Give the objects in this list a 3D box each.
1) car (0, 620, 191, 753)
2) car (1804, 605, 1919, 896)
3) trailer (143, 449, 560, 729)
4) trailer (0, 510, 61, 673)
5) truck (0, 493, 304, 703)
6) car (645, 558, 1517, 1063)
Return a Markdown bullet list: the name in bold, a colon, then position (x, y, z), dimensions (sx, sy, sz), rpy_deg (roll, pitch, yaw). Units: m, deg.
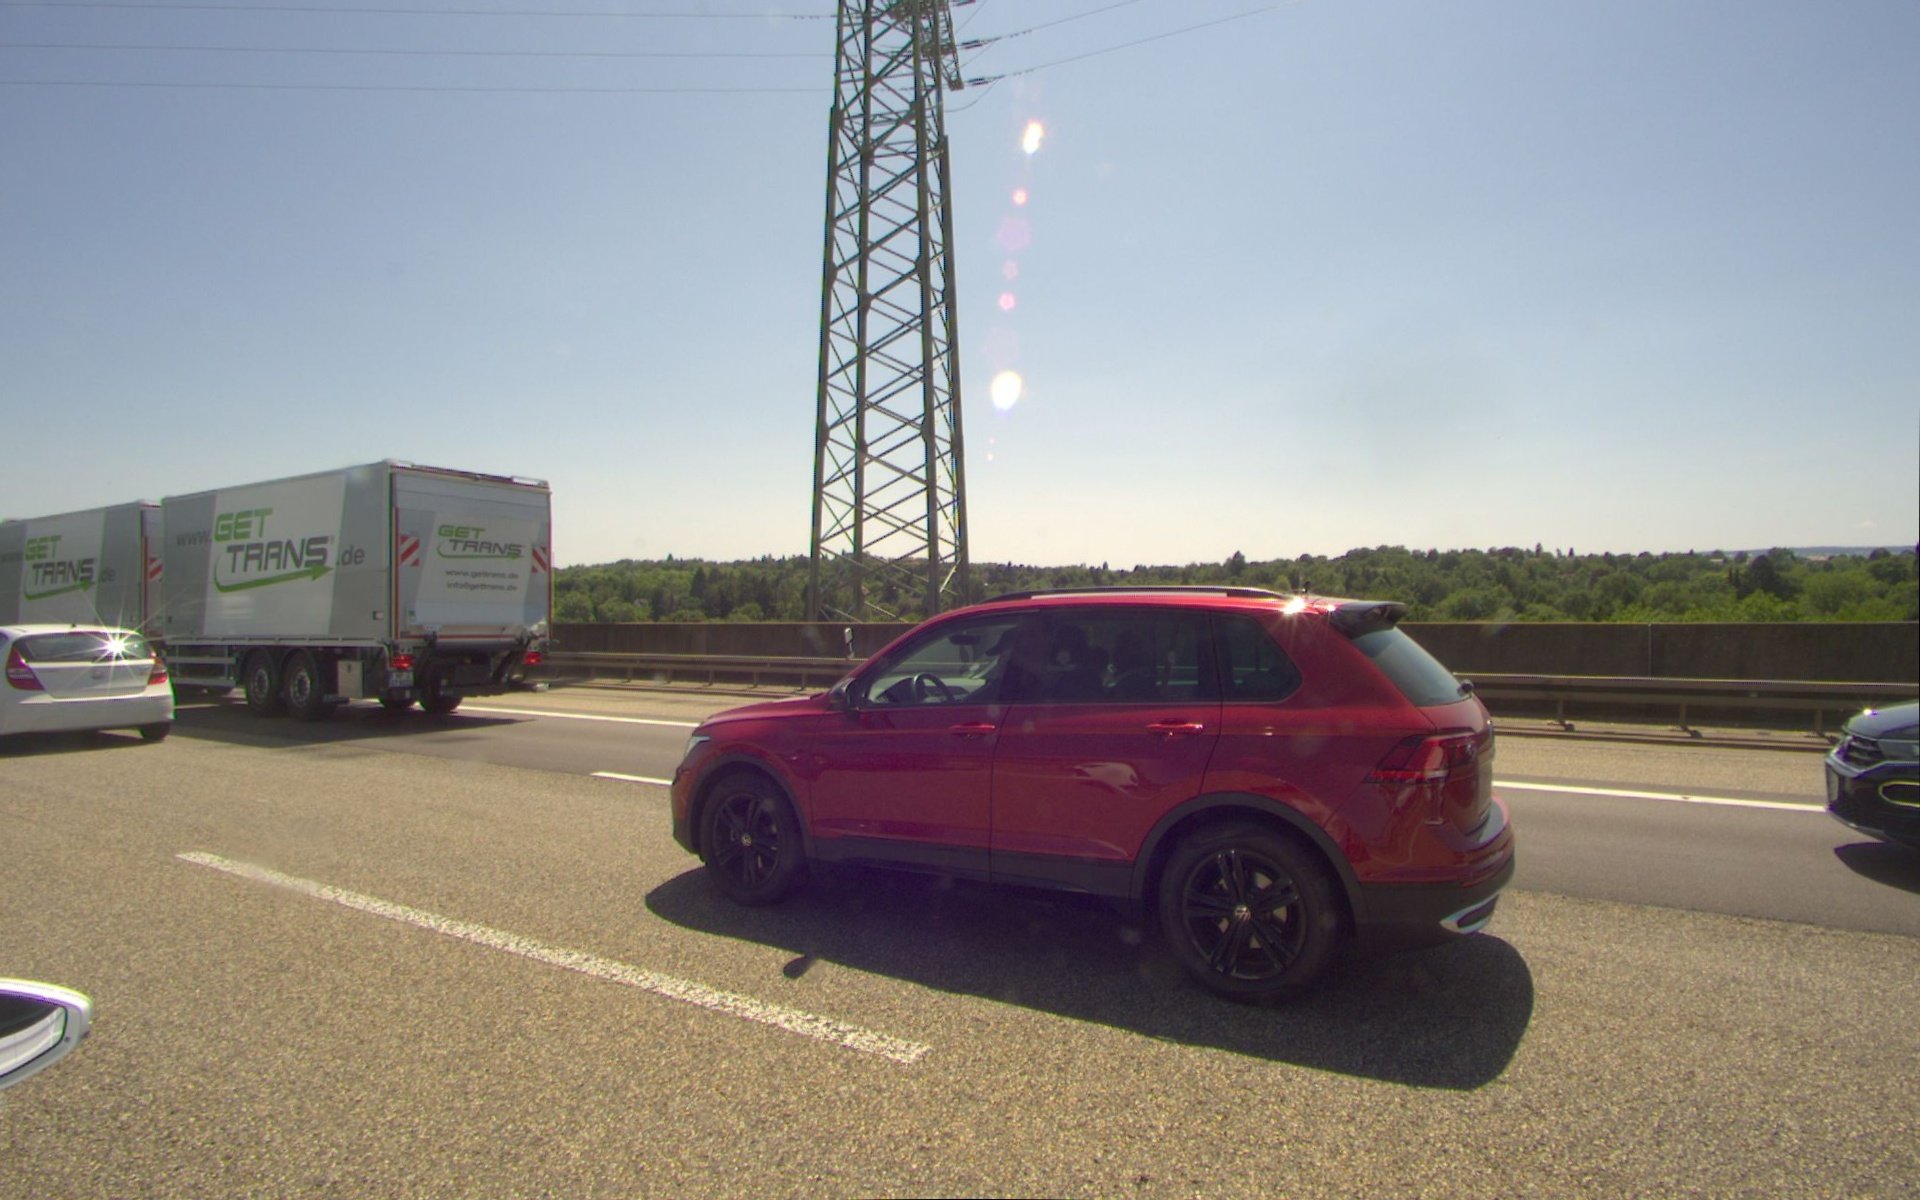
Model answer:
- **car**: position (-11.973, 0.998, 13.035), dimensions (4.232, 1.474, 1.785), rpy_deg (-1, -1, 32)
- **car**: position (7.081, 0.796, 5.081), dimensions (4.048, 1.546, 1.733), rpy_deg (-1, -2, 33)
- **trailer**: position (-10.323, -0.090, 16.670), dimensions (7.899, 3.748, 2.693), rpy_deg (-1, 0, 32)
- **trailer**: position (-29.245, -0.152, 28.711), dimensions (8.883, 4.293, 2.860), rpy_deg (-1, -2, 32)
- **truck**: position (-18.313, 0.043, 21.630), dimensions (10.851, 3.695, 2.652), rpy_deg (-1, 0, 32)
- **car**: position (0.478, 0.741, 5.202), dimensions (4.163, 1.683, 1.772), rpy_deg (-1, -1, 32)
